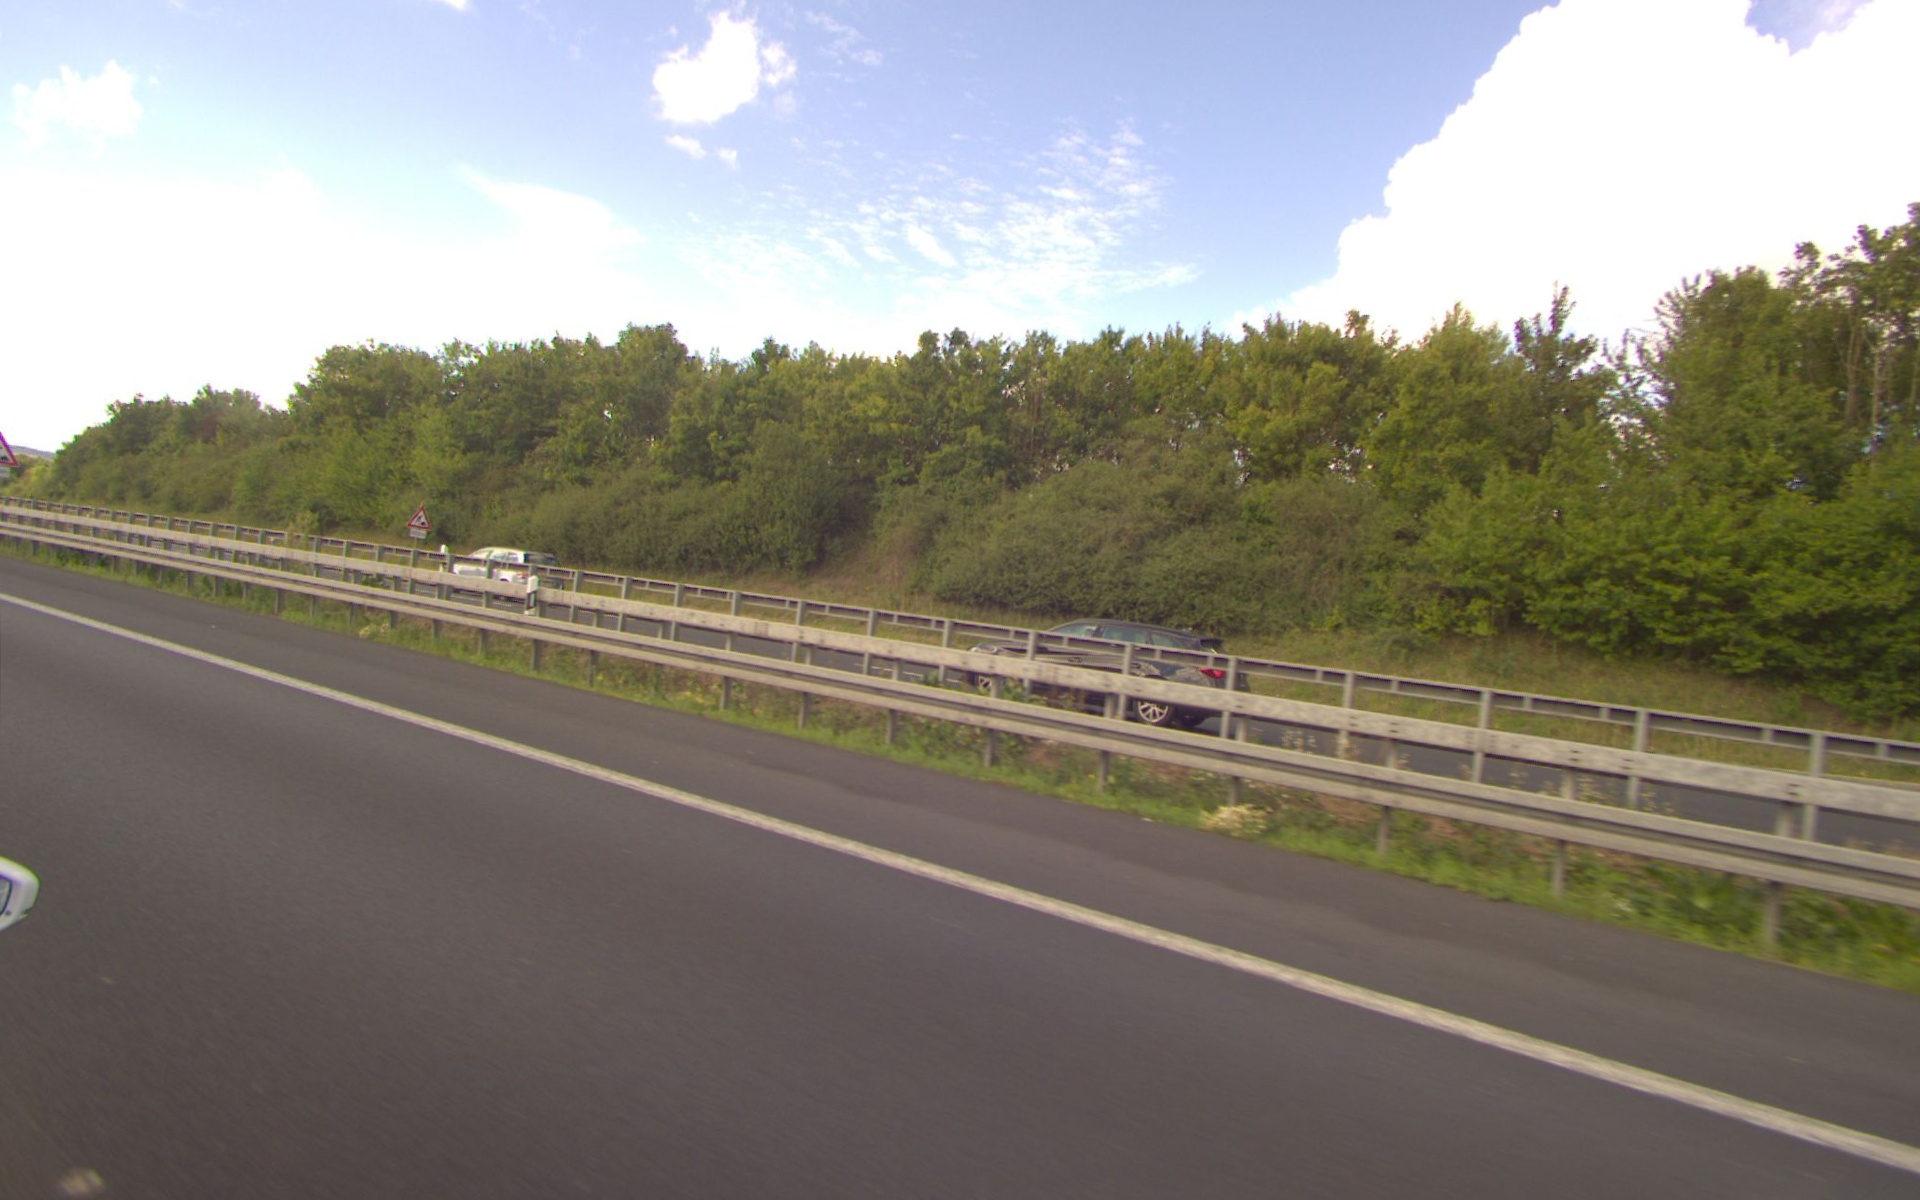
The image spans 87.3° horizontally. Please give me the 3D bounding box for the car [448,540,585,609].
[{"bbox_3d":[-13.957,-0.814,31.603,3.934,1.730,1.995,7,1,32],"label":"car"}]

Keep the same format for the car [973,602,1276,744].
[{"bbox_3d":[2.449,1.037,15.135,3.933,1.502,1.996,7,0,31],"label":"car"}]
